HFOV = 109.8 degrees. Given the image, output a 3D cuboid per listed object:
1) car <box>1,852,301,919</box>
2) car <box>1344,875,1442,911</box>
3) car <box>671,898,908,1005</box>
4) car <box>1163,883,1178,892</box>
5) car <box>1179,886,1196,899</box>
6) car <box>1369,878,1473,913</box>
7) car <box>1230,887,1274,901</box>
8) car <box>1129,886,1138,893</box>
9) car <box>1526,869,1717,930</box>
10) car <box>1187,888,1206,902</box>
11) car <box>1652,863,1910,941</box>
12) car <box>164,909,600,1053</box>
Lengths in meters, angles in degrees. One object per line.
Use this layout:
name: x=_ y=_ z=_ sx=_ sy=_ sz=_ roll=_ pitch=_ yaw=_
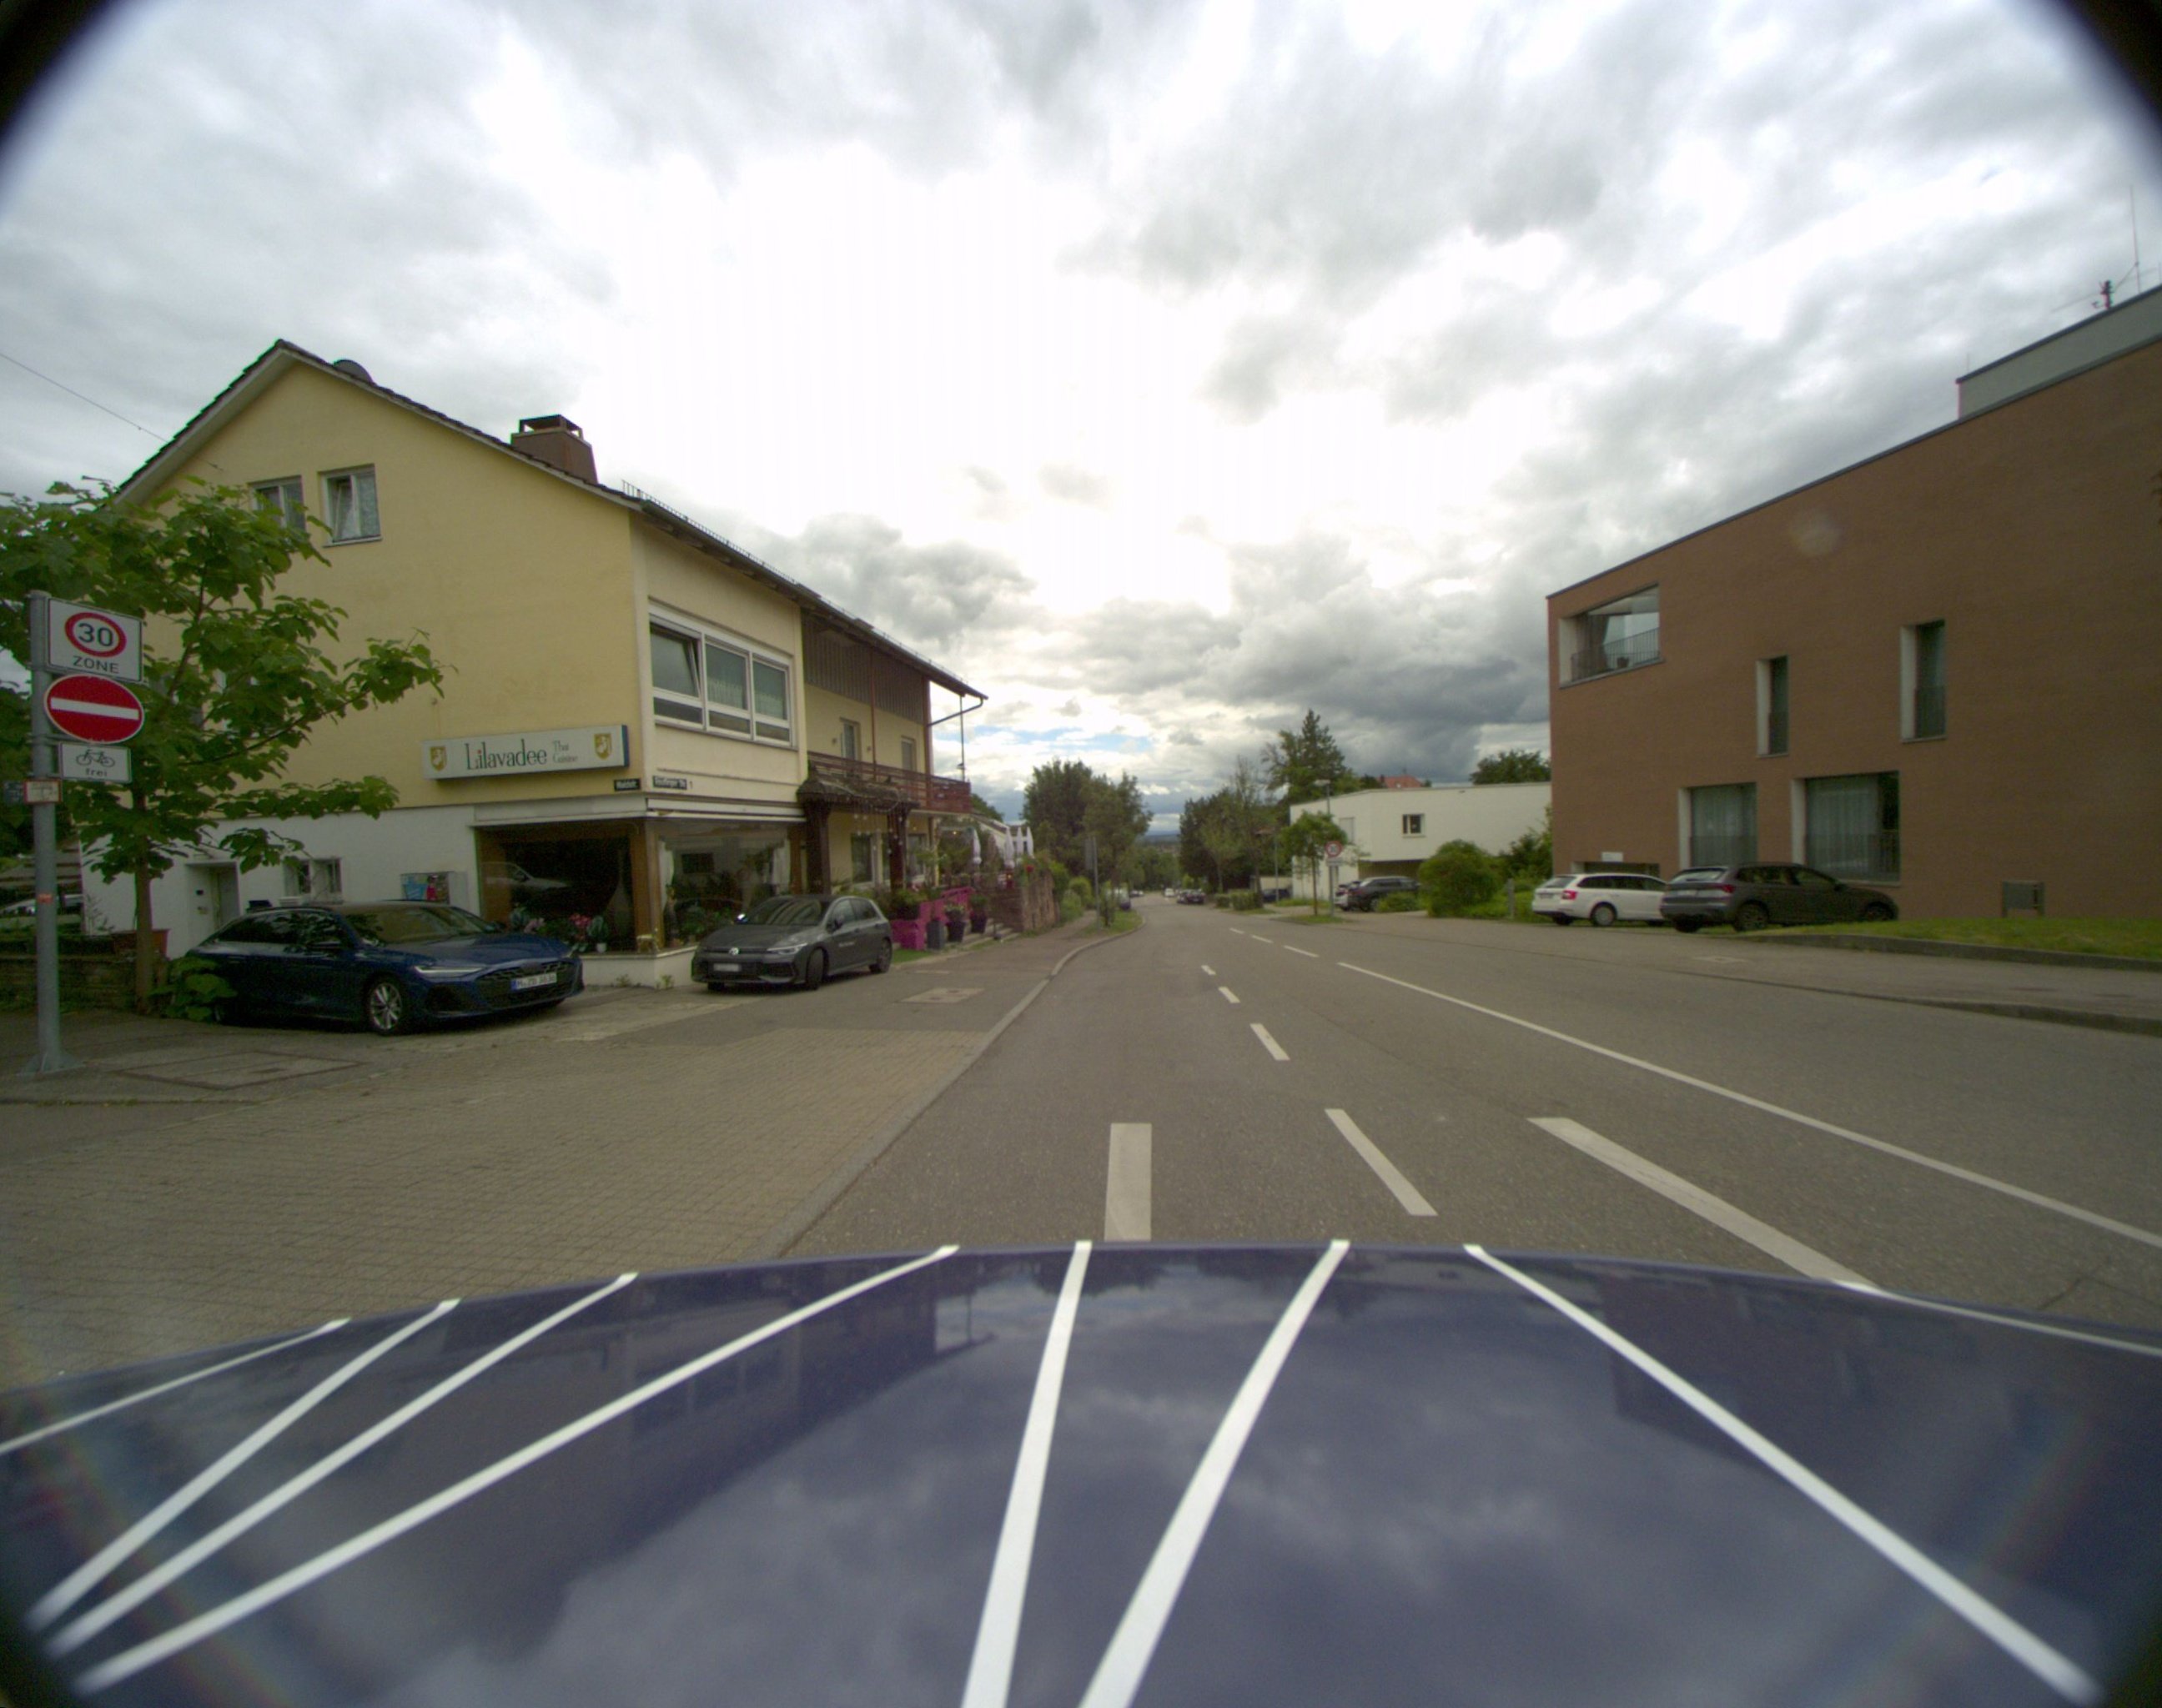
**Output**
car: x=-22.726 y=0.823 z=18.845 sx=1.795 sy=1.452 sz=4.336 roll=-2 pitch=-4 yaw=22
car: x=15.078 y=1.892 z=36.881 sx=3.996 sy=1.585 sz=1.795 roll=-2 pitch=-3 yaw=3
car: x=-4.525 y=1.477 z=12.635 sx=1.796 sy=1.452 sz=4.332 roll=-1 pitch=-4 yaw=8
car: x=16.252 y=6.065 z=137.977 sx=1.884 sy=1.412 sz=4.368 roll=-1 pitch=-1 yaw=-2
car: x=12.532 y=4.551 z=89.581 sx=1.661 sy=1.412 sz=4.372 roll=-2 pitch=-3 yaw=6
car: x=15.623 y=1.894 z=35.040 sx=3.996 sy=1.476 sz=1.728 roll=-2 pitch=-3 yaw=3
car: x=16.578 y=3.881 z=73.733 sx=3.995 sy=1.278 sz=1.665 roll=-2 pitch=-3 yaw=7
car: x=12.726 y=8.573 z=183.414 sx=1.883 sy=1.412 sz=4.369 roll=-1 pitch=-1 yaw=1
car: x=14.635 y=1.232 z=20.717 sx=3.998 sy=1.476 sz=1.727 roll=-1 pitch=-3 yaw=-3
car: x=12.214 y=4.296 z=80.583 sx=1.661 sy=1.412 sz=4.004 roll=-2 pitch=-3 yaw=6
car: x=14.933 y=1.011 z=16.345 sx=3.998 sy=1.476 sz=1.727 roll=-1 pitch=-3 yaw=-3
car: x=-8.512 y=1.416 z=9.298 sx=4.739 sy=1.378 sz=1.802 roll=-2 pitch=-1 yaw=18
